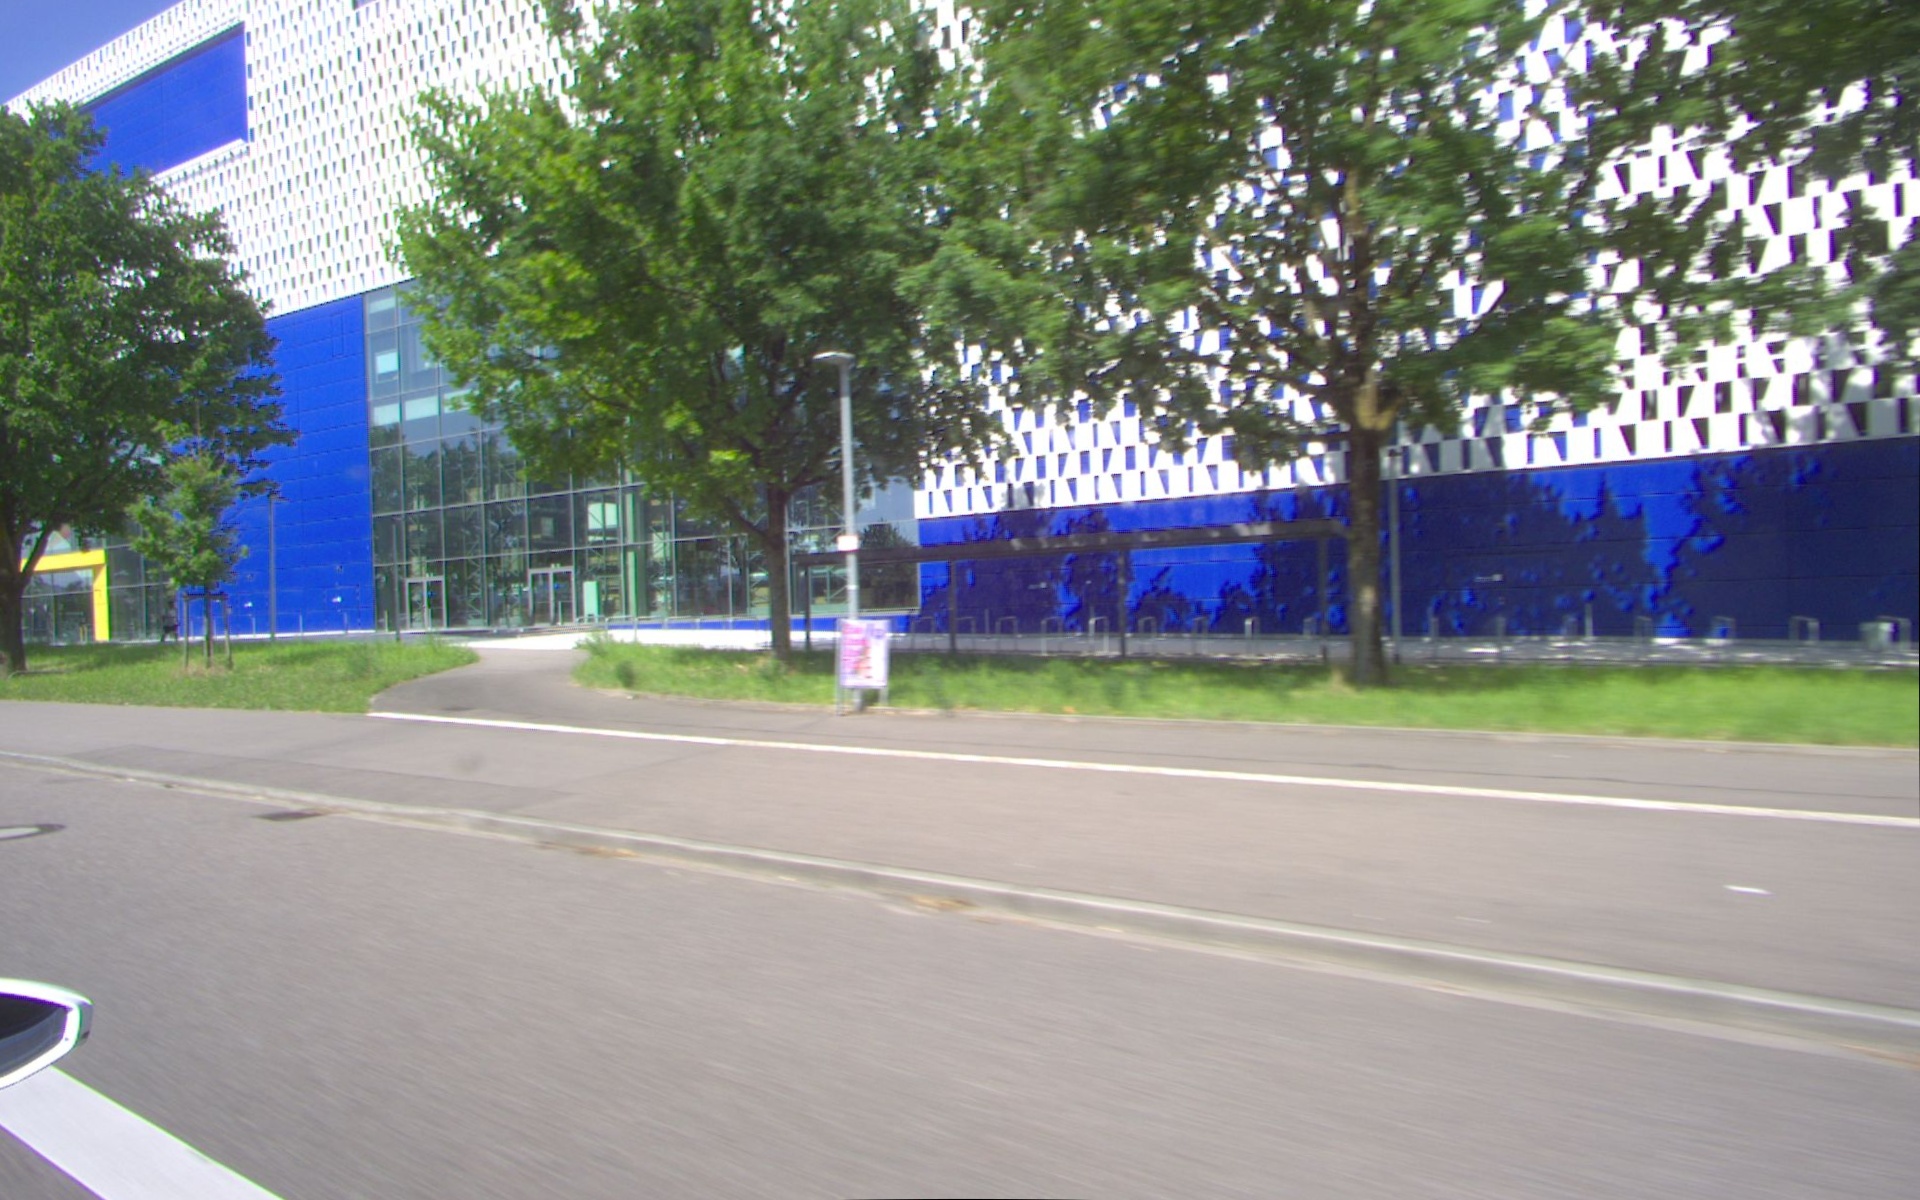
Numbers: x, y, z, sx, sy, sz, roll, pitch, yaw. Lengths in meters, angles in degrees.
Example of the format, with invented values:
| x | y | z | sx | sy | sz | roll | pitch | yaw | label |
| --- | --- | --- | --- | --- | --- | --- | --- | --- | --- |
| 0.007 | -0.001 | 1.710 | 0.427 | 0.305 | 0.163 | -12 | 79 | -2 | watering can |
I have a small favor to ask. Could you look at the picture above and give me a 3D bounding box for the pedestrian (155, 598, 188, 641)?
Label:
| x | y | z | sx | sy | sz | roll | pitch | yaw | label |
| --- | --- | --- | --- | --- | --- | --- | --- | --- | --- |
| -30.044 | 0.745 | 38.143 | 0.759 | 1.634 | 0.688 | -1 | 1 | 25 | pedestrian |
